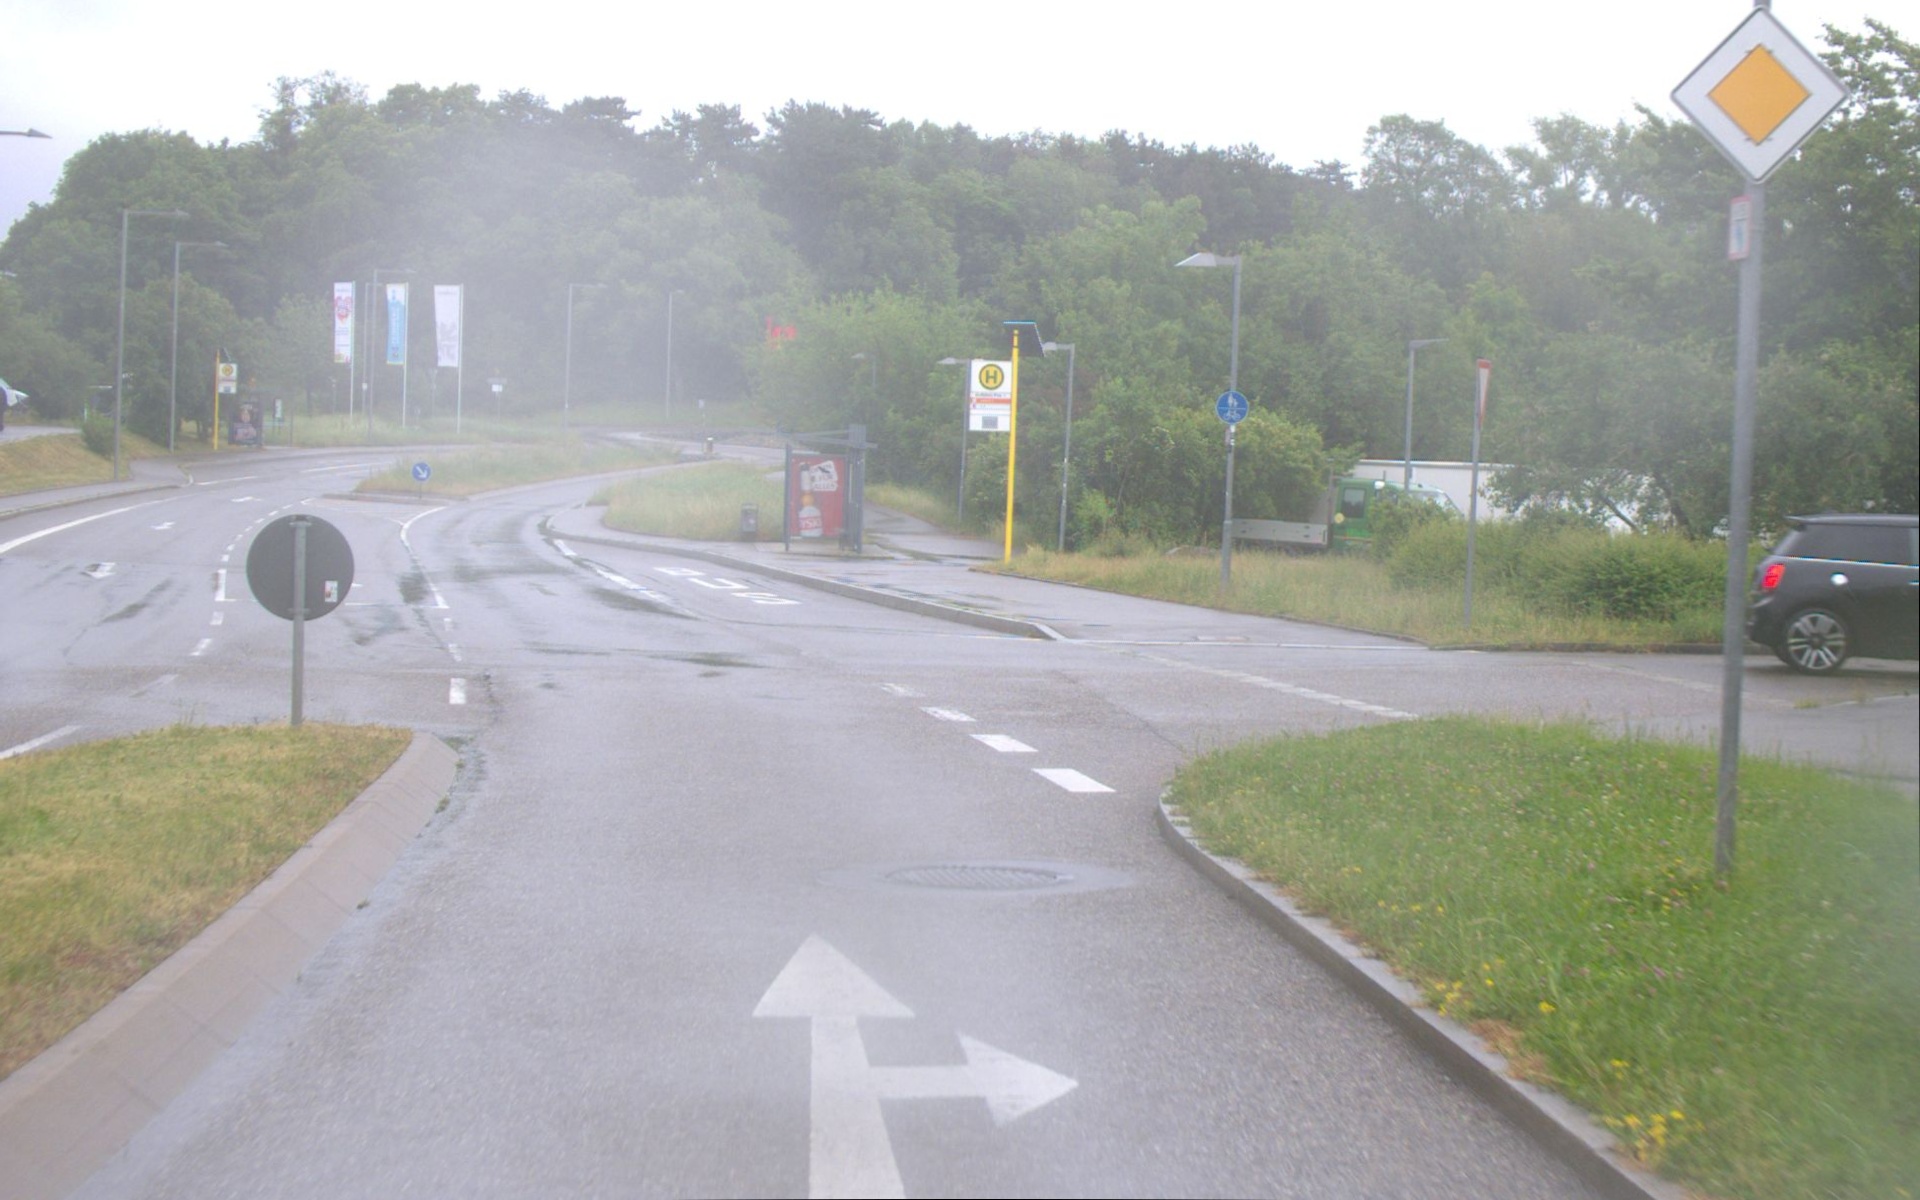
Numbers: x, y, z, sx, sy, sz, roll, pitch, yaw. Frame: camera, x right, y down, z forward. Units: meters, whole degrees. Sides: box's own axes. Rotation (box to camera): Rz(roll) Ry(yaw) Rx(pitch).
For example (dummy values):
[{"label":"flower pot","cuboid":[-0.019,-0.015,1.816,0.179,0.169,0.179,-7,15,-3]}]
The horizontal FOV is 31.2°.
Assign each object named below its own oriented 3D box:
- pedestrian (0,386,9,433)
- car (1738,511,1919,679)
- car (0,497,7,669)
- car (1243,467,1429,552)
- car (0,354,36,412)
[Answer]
[{"label":"pedestrian","cuboid":[-33.164,-6.580,118.662,0.565,1.614,0.637,1,1,-21]},{"label":"car","cuboid":[8.707,0.014,30.163,3.525,1.351,1.458,4,2,15]},{"label":"car","cuboid":[-8.545,-0.073,26.314,1.967,1.409,4.417,-1,2,-10]},{"label":"car","cuboid":[8.157,-1.955,74.688,3.420,1.684,1.995,1,-2,40]},{"label":"car","cuboid":[-42.932,-9.428,148.459,5.674,2.396,2.001,1,1,-9]}]
